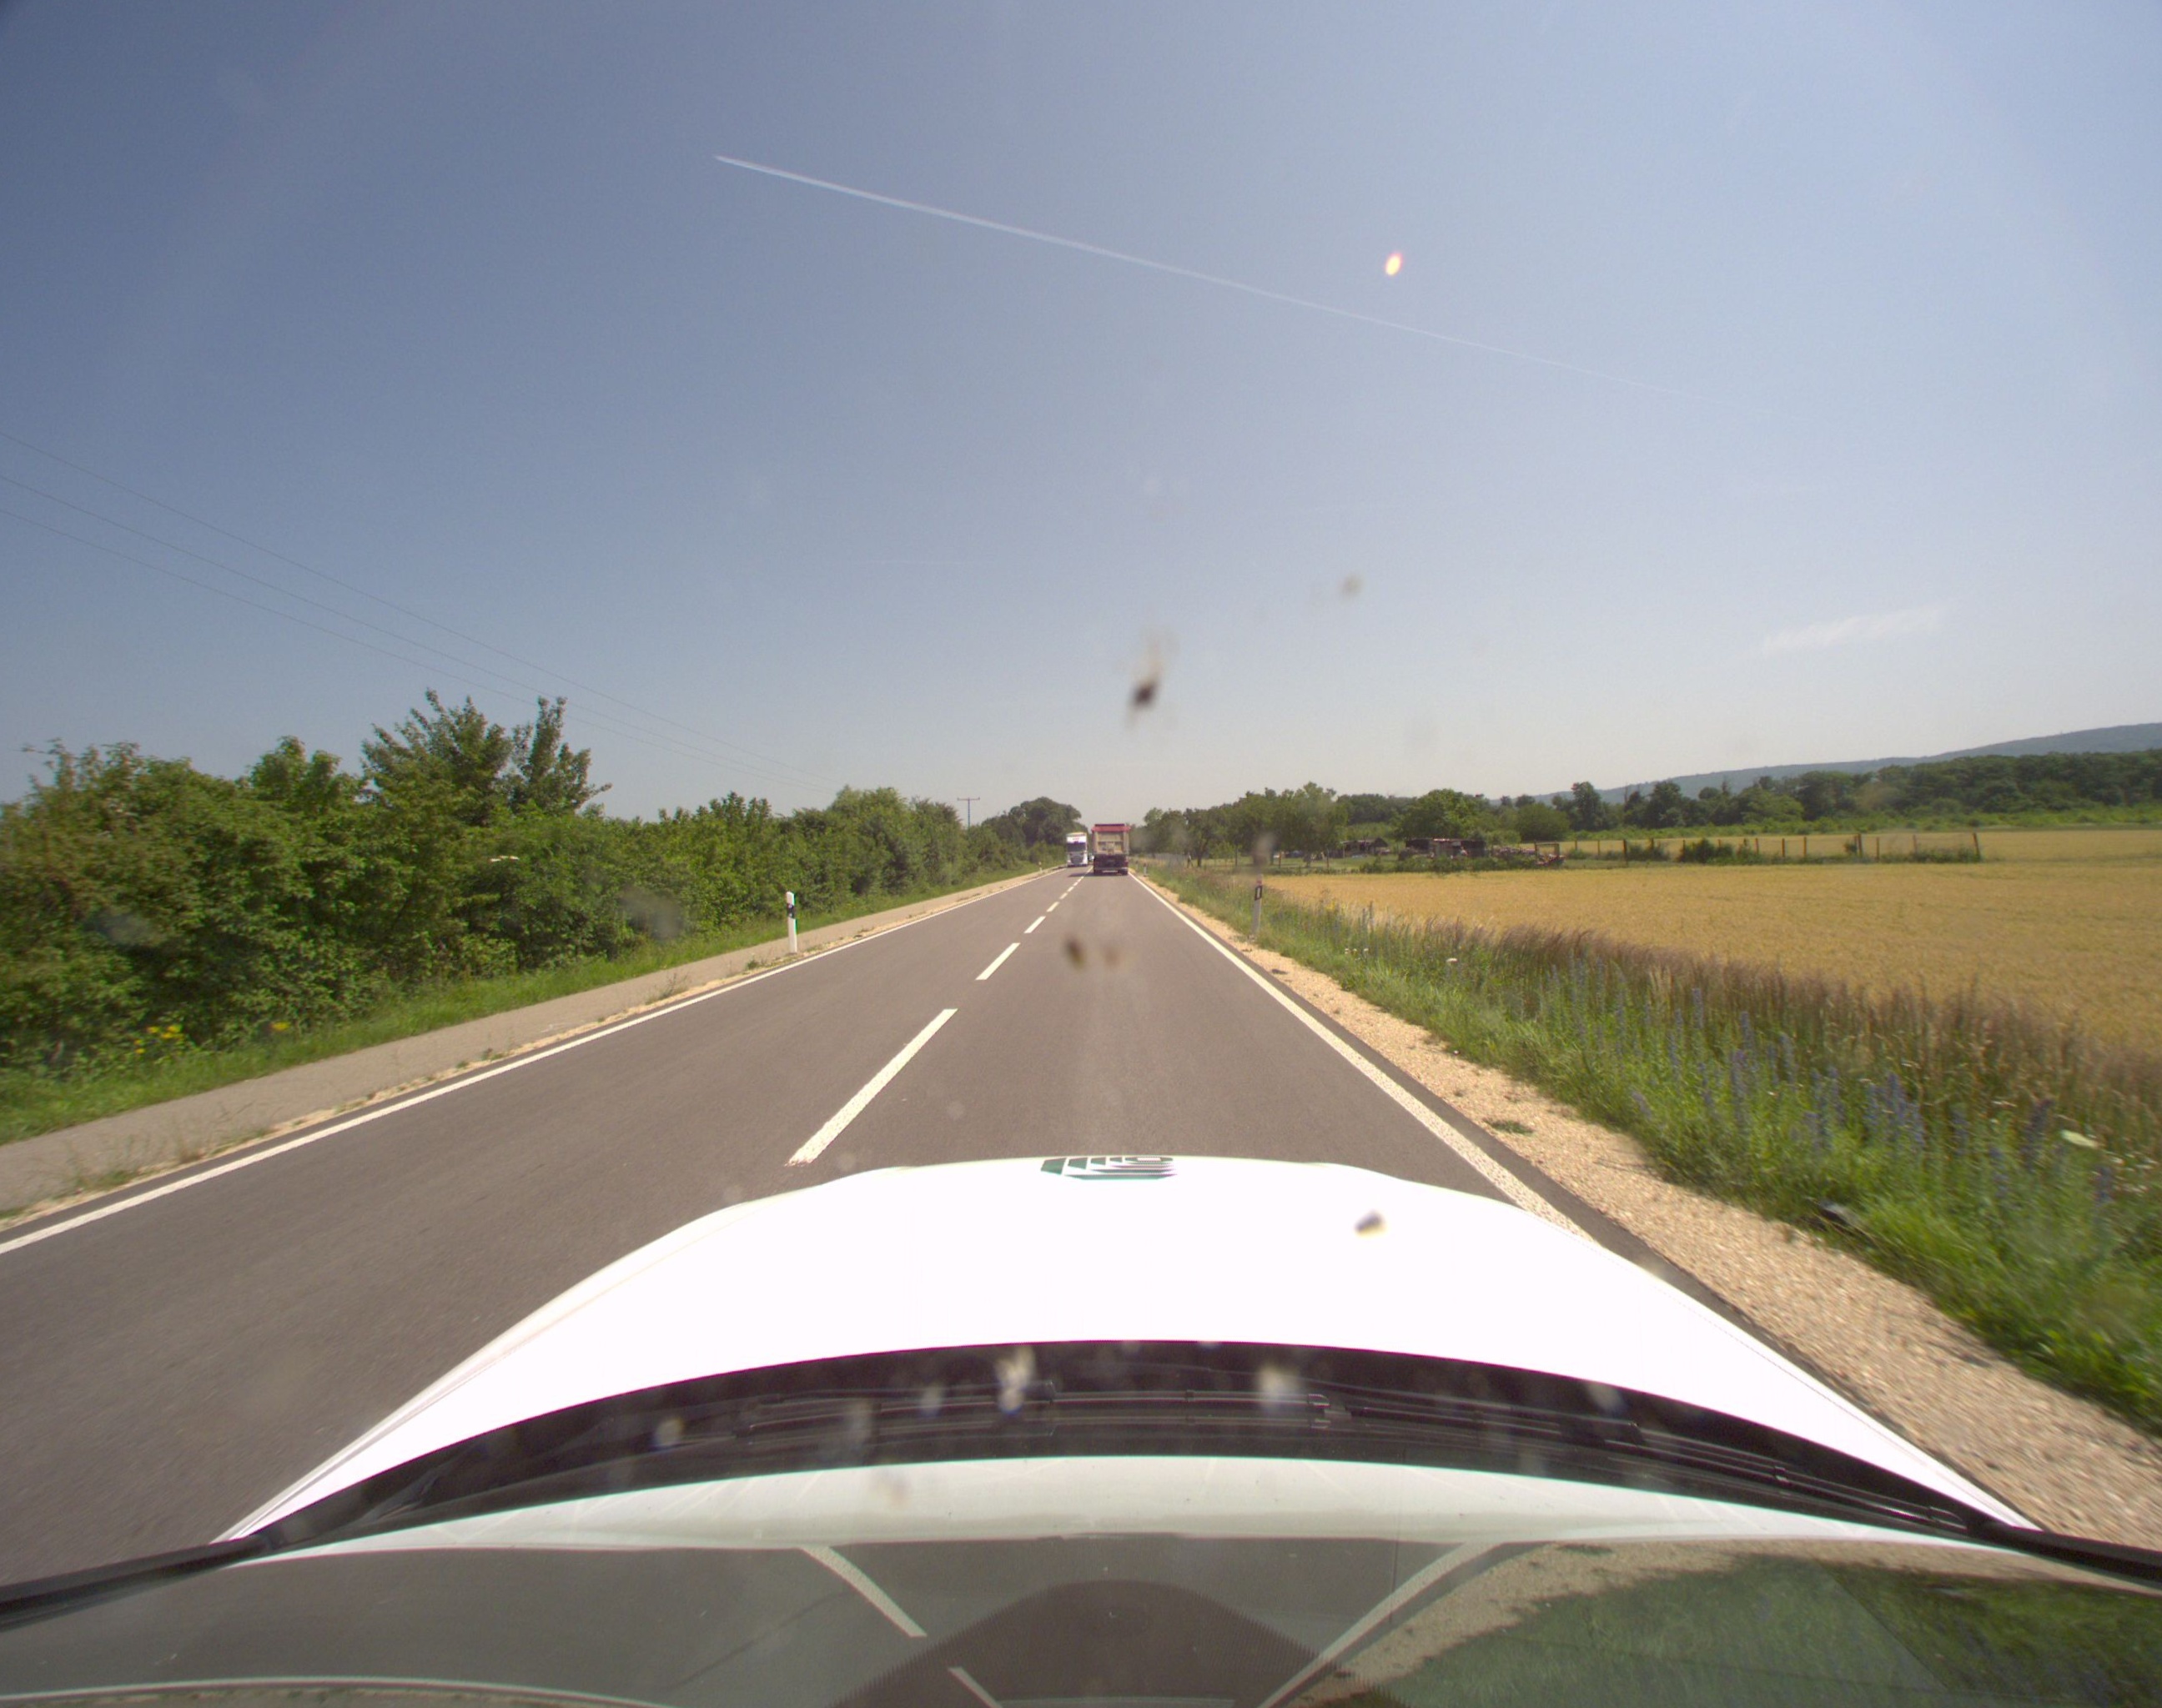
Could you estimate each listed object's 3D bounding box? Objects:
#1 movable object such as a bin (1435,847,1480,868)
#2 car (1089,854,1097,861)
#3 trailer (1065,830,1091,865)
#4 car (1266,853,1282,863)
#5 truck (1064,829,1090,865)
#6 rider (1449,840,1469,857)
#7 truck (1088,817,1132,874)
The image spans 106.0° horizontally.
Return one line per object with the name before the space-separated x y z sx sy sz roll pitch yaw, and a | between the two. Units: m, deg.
movable object such as a bin | 28.848 0.281 62.477 1.567 1.496 3.655 -2 0 -3
car | 3.101 0.842 207.342 1.752 1.540 4.047 -4 0 1
trailer | -0.248 -0.841 109.421 2.707 4.265 13.815 -3 0 2
car | 31.406 0.594 132.517 1.591 1.486 3.420 -2 1 -6
truck | -0.463 -0.838 103.296 2.707 4.265 7.392 -3 0 2
rider | 28.727 -0.411 61.854 1.022 1.217 0.984 -2 0 -5
truck | 2.130 -0.528 61.589 2.998 3.874 12.213 0 0 2
